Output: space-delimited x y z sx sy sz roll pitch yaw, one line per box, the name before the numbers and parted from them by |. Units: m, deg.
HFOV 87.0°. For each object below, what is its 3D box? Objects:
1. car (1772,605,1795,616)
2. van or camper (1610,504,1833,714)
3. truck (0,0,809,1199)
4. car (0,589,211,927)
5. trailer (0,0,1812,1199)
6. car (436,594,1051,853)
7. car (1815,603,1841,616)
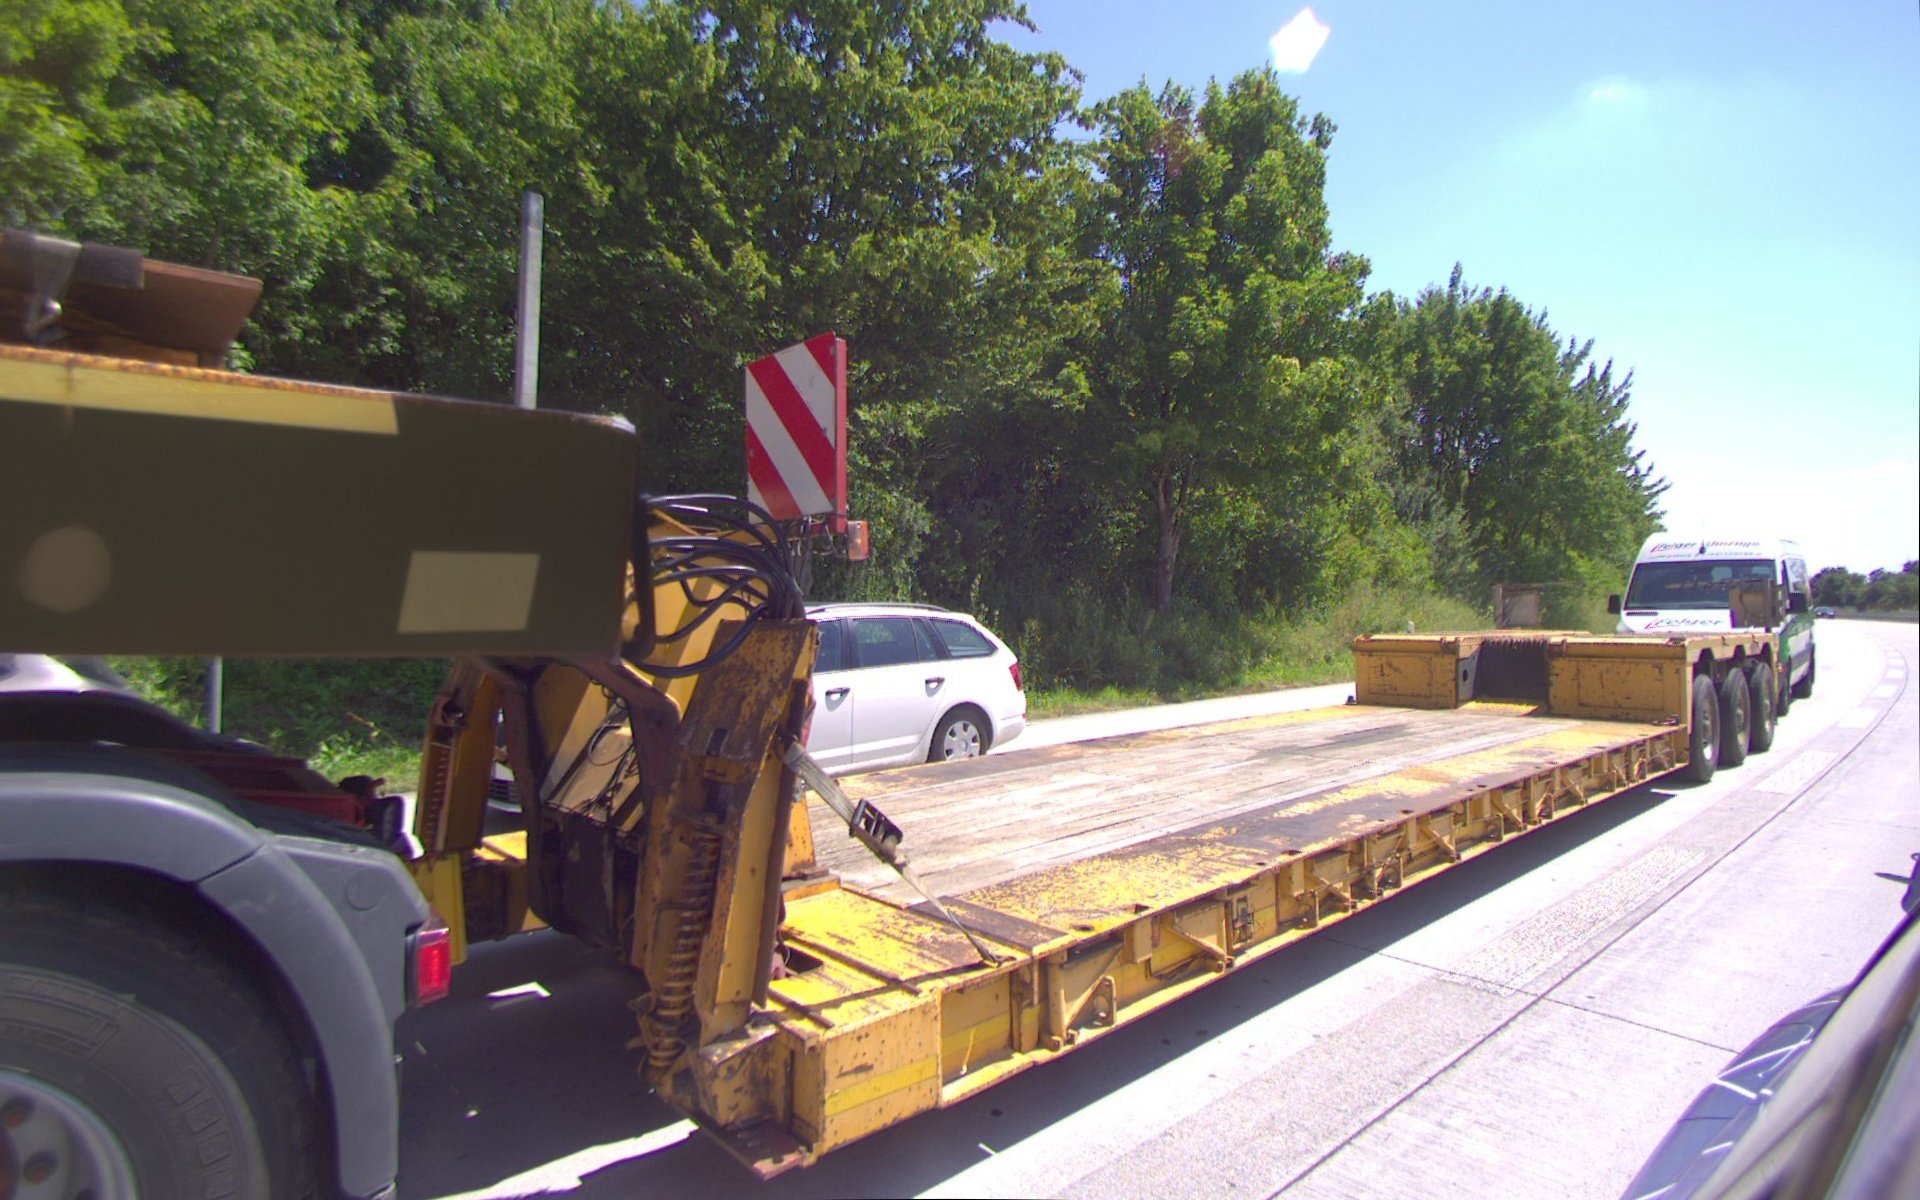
car | 124.773 1.606 153.349 1.689 1.483 3.967 0 0 24
van or camper | 11.745 0.083 15.406 2.063 2.606 5.815 0 0 43
truck | -4.041 -0.506 0.841 7.342 3.820 3.017 0 0 -42
car | -5.833 0.708 4.160 4.290 1.480 1.770 -1 0 -42
trailer | 1.847 0.104 6.192 16.076 2.626 3.031 0 0 -42
car | -1.448 0.697 8.024 4.521 1.480 1.769 -1 0 -43
car | 104.613 1.114 122.003 1.613 1.504 3.960 0 0 28
